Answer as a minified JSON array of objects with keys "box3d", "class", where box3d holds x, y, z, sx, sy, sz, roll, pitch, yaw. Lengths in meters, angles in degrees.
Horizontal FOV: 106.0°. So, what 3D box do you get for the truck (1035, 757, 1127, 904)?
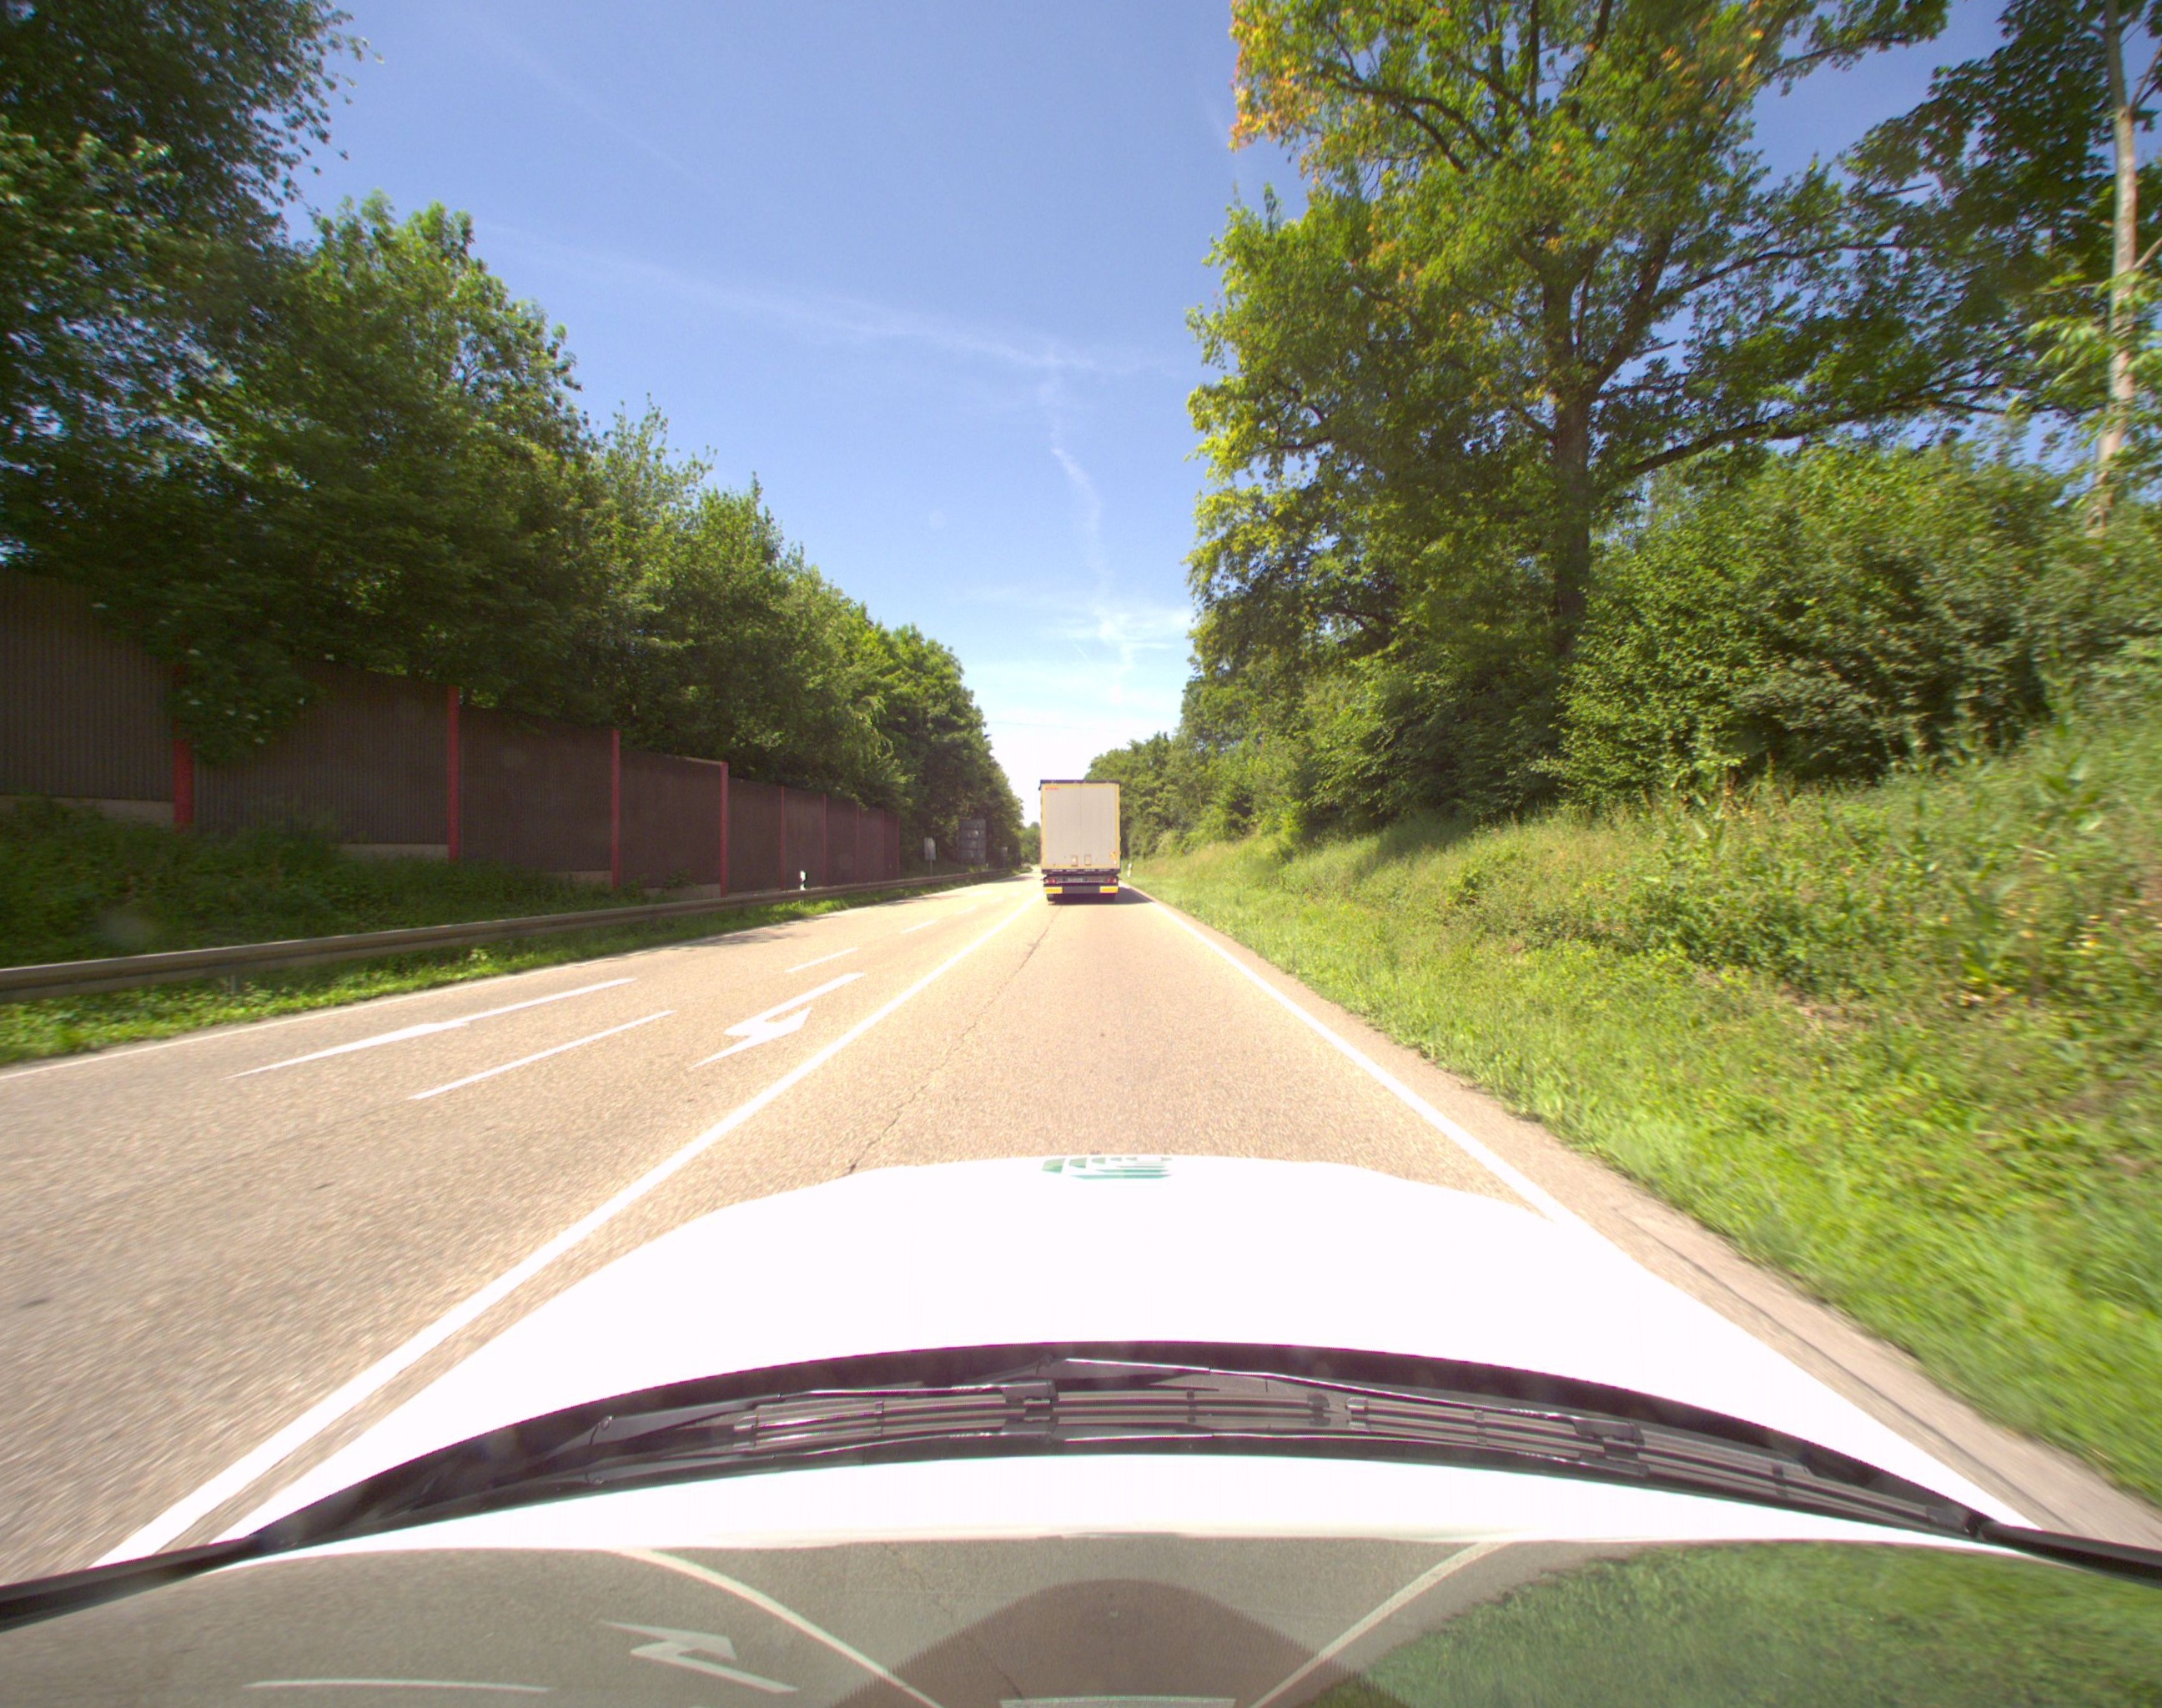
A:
[{"box3d":[0.097,-0.789,29.109,2.812,4.603,6.668,-1,1,1],"class":"truck"}]
